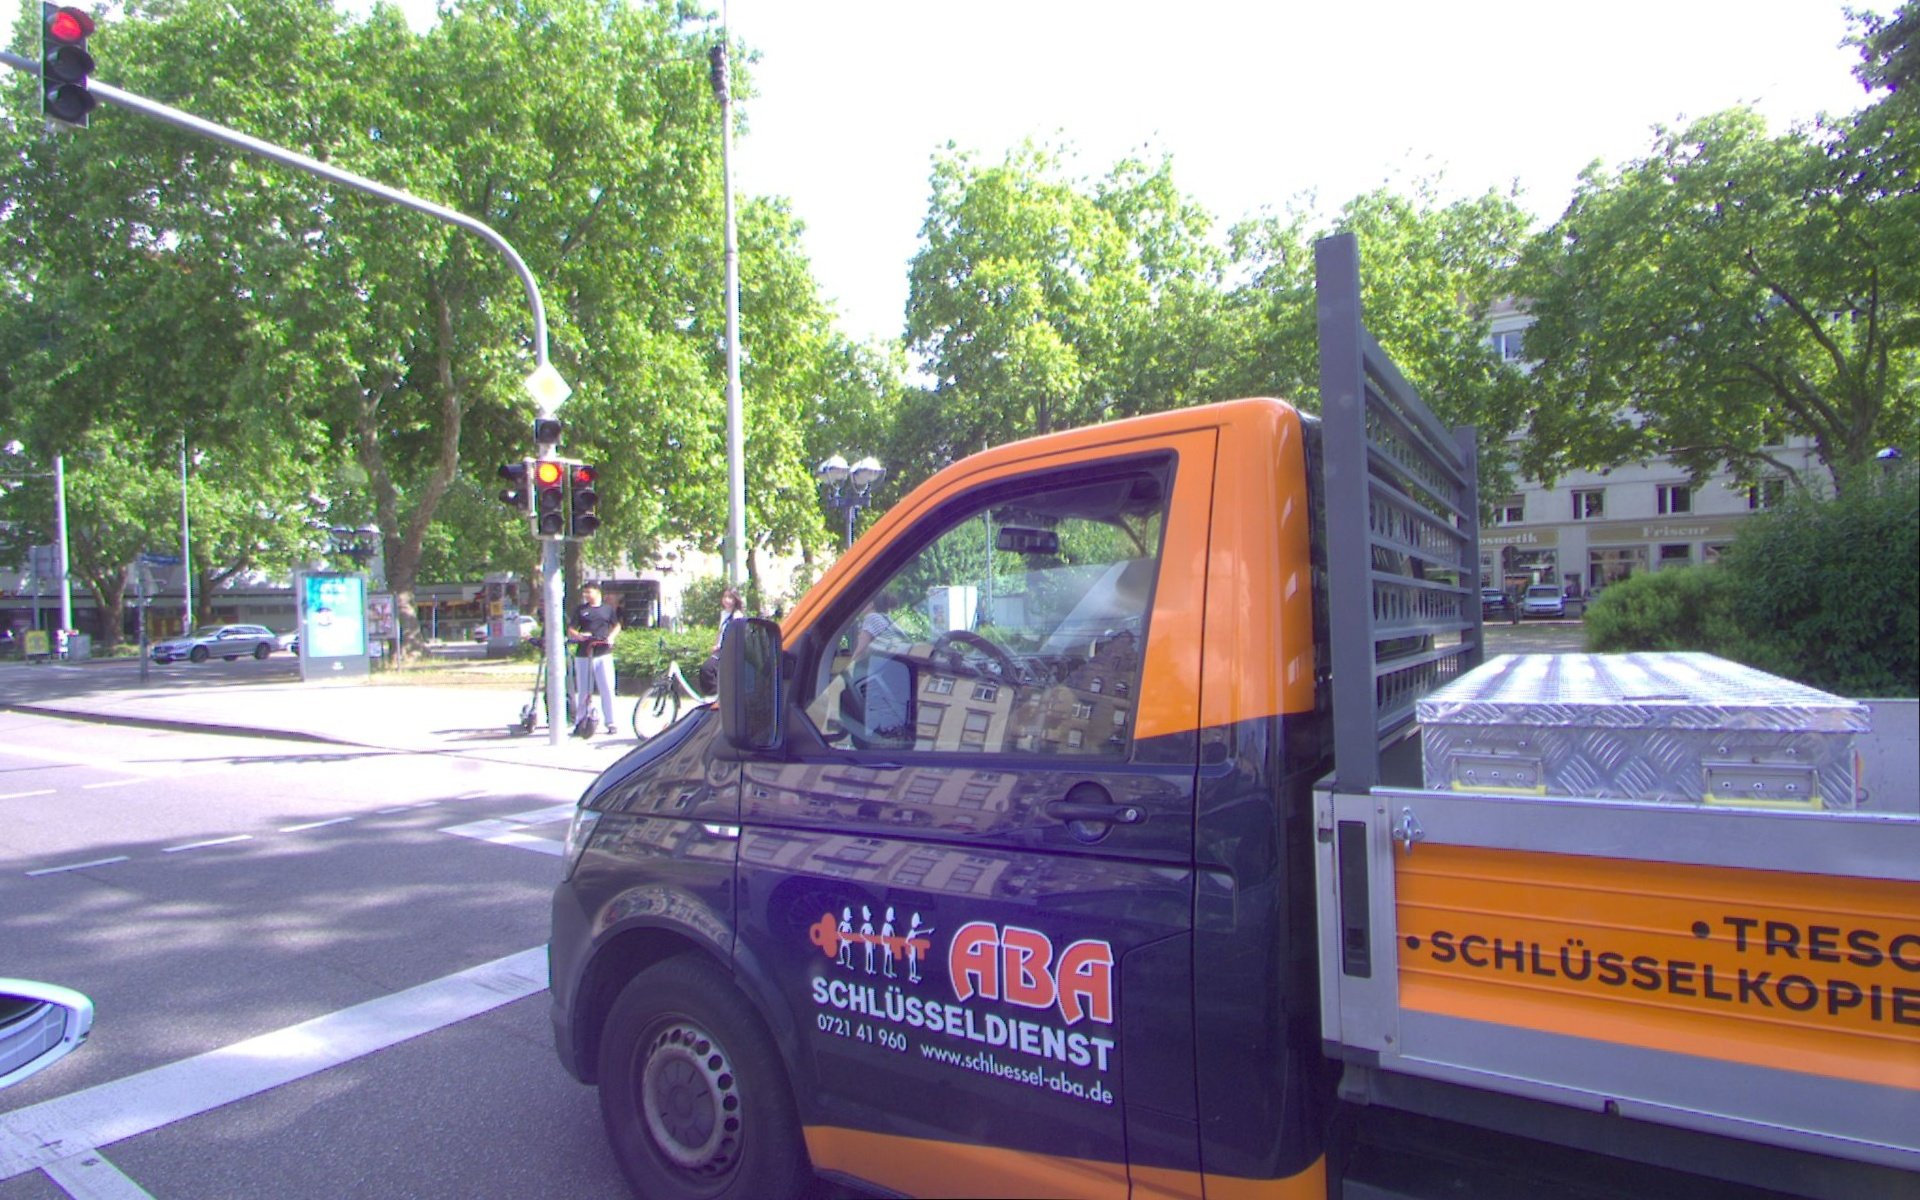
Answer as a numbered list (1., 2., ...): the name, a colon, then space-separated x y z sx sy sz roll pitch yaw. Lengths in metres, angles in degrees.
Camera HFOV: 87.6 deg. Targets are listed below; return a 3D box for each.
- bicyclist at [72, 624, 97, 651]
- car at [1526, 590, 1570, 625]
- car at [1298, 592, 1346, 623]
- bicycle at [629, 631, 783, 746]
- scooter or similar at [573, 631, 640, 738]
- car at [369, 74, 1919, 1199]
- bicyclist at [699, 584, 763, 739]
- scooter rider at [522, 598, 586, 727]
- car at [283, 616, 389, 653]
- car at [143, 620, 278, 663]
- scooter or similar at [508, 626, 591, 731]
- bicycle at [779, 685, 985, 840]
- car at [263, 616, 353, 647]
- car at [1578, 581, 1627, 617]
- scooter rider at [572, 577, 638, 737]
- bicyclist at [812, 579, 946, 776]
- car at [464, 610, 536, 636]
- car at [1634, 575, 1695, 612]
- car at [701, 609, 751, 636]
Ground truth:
1. bicyclist: -41.896 1.797 47.898 0.802 1.267 0.480 1 -1 -30
2. car: 29.756 0.345 50.714 1.824 1.681 4.063 -1 1 30
3. car: 20.814 0.393 57.436 1.825 1.681 4.062 -1 1 31
4. bicycle: -2.873 0.977 11.349 1.602 1.128 0.506 -4 3 -18
5. scooter or similar: -4.266 0.992 12.069 0.537 1.187 0.871 -3 3 -31
6. car: 1.063 0.452 2.357 5.263 2.012 2.069 -3 -1 33
7. bicyclist: -2.613 0.678 11.422 0.573 1.691 0.506 -4 3 -18
8. scooter rider: -5.216 0.797 12.875 0.534 1.615 0.437 -2 3 11
9. car: -28.766 1.568 46.338 1.826 1.510 4.072 -1 0 12
10. car: -29.817 1.613 39.976 1.827 1.510 3.994 -1 0 16
11. scooter or similar: -5.227 0.984 12.805 0.534 1.243 0.875 -2 2 11
12. bicycle: -0.617 1.147 7.423 1.698 0.933 0.467 -1 1 42
13. car: -34.857 1.669 53.621 1.710 1.504 3.655 -1 0 29
14. car: 31.698 -0.076 49.468 1.824 1.681 4.063 -1 1 30
15. scooter rider: -4.273 0.660 12.040 0.537 1.835 0.675 -3 3 -31
16. bicyclist: -0.607 0.544 7.391 0.899 1.361 0.467 -1 1 42
17. car: -29.135 1.435 63.548 1.831 1.510 3.836 -1 1 25
18. car: 33.836 -0.331 48.209 2.052 1.681 4.063 -1 0 30
19. car: -14.718 1.402 63.171 1.658 1.521 3.997 -1 1 9
